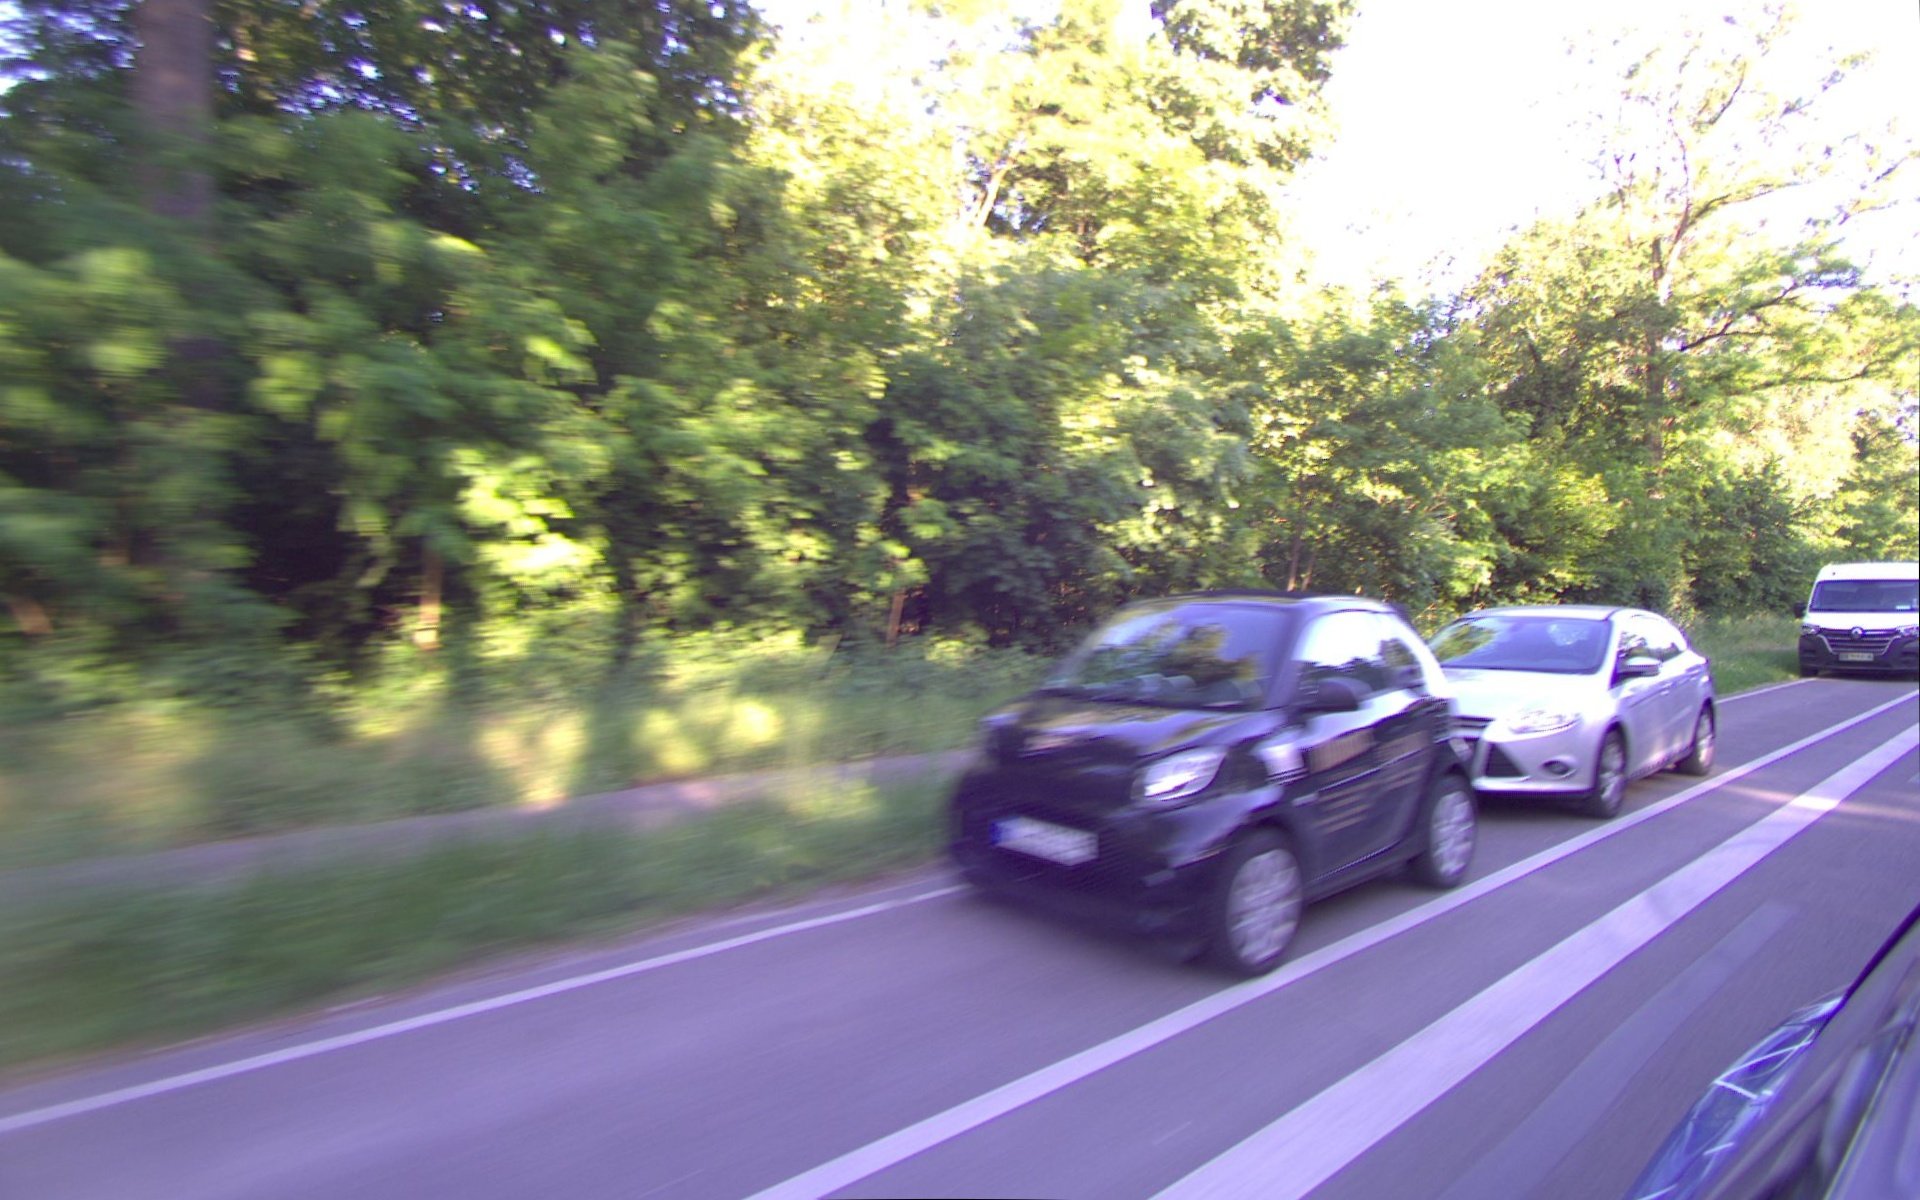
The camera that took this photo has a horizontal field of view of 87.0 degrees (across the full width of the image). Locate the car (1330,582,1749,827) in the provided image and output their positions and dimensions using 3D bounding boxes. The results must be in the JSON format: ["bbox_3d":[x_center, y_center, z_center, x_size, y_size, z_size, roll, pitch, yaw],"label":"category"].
[{"bbox_3d":[4.944,0.653,8.348,4.325,1.507,1.737,0,-1,-42],"label":"car"}]

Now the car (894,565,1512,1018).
[{"bbox_3d":[1.323,0.660,5.056,2.958,1.550,1.589,0,-1,-41],"label":"car"}]

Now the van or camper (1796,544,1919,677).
[{"bbox_3d":[20.077,0.188,21.748,6.192,2.514,2.130,0,1,-40],"label":"van or camper"}]
